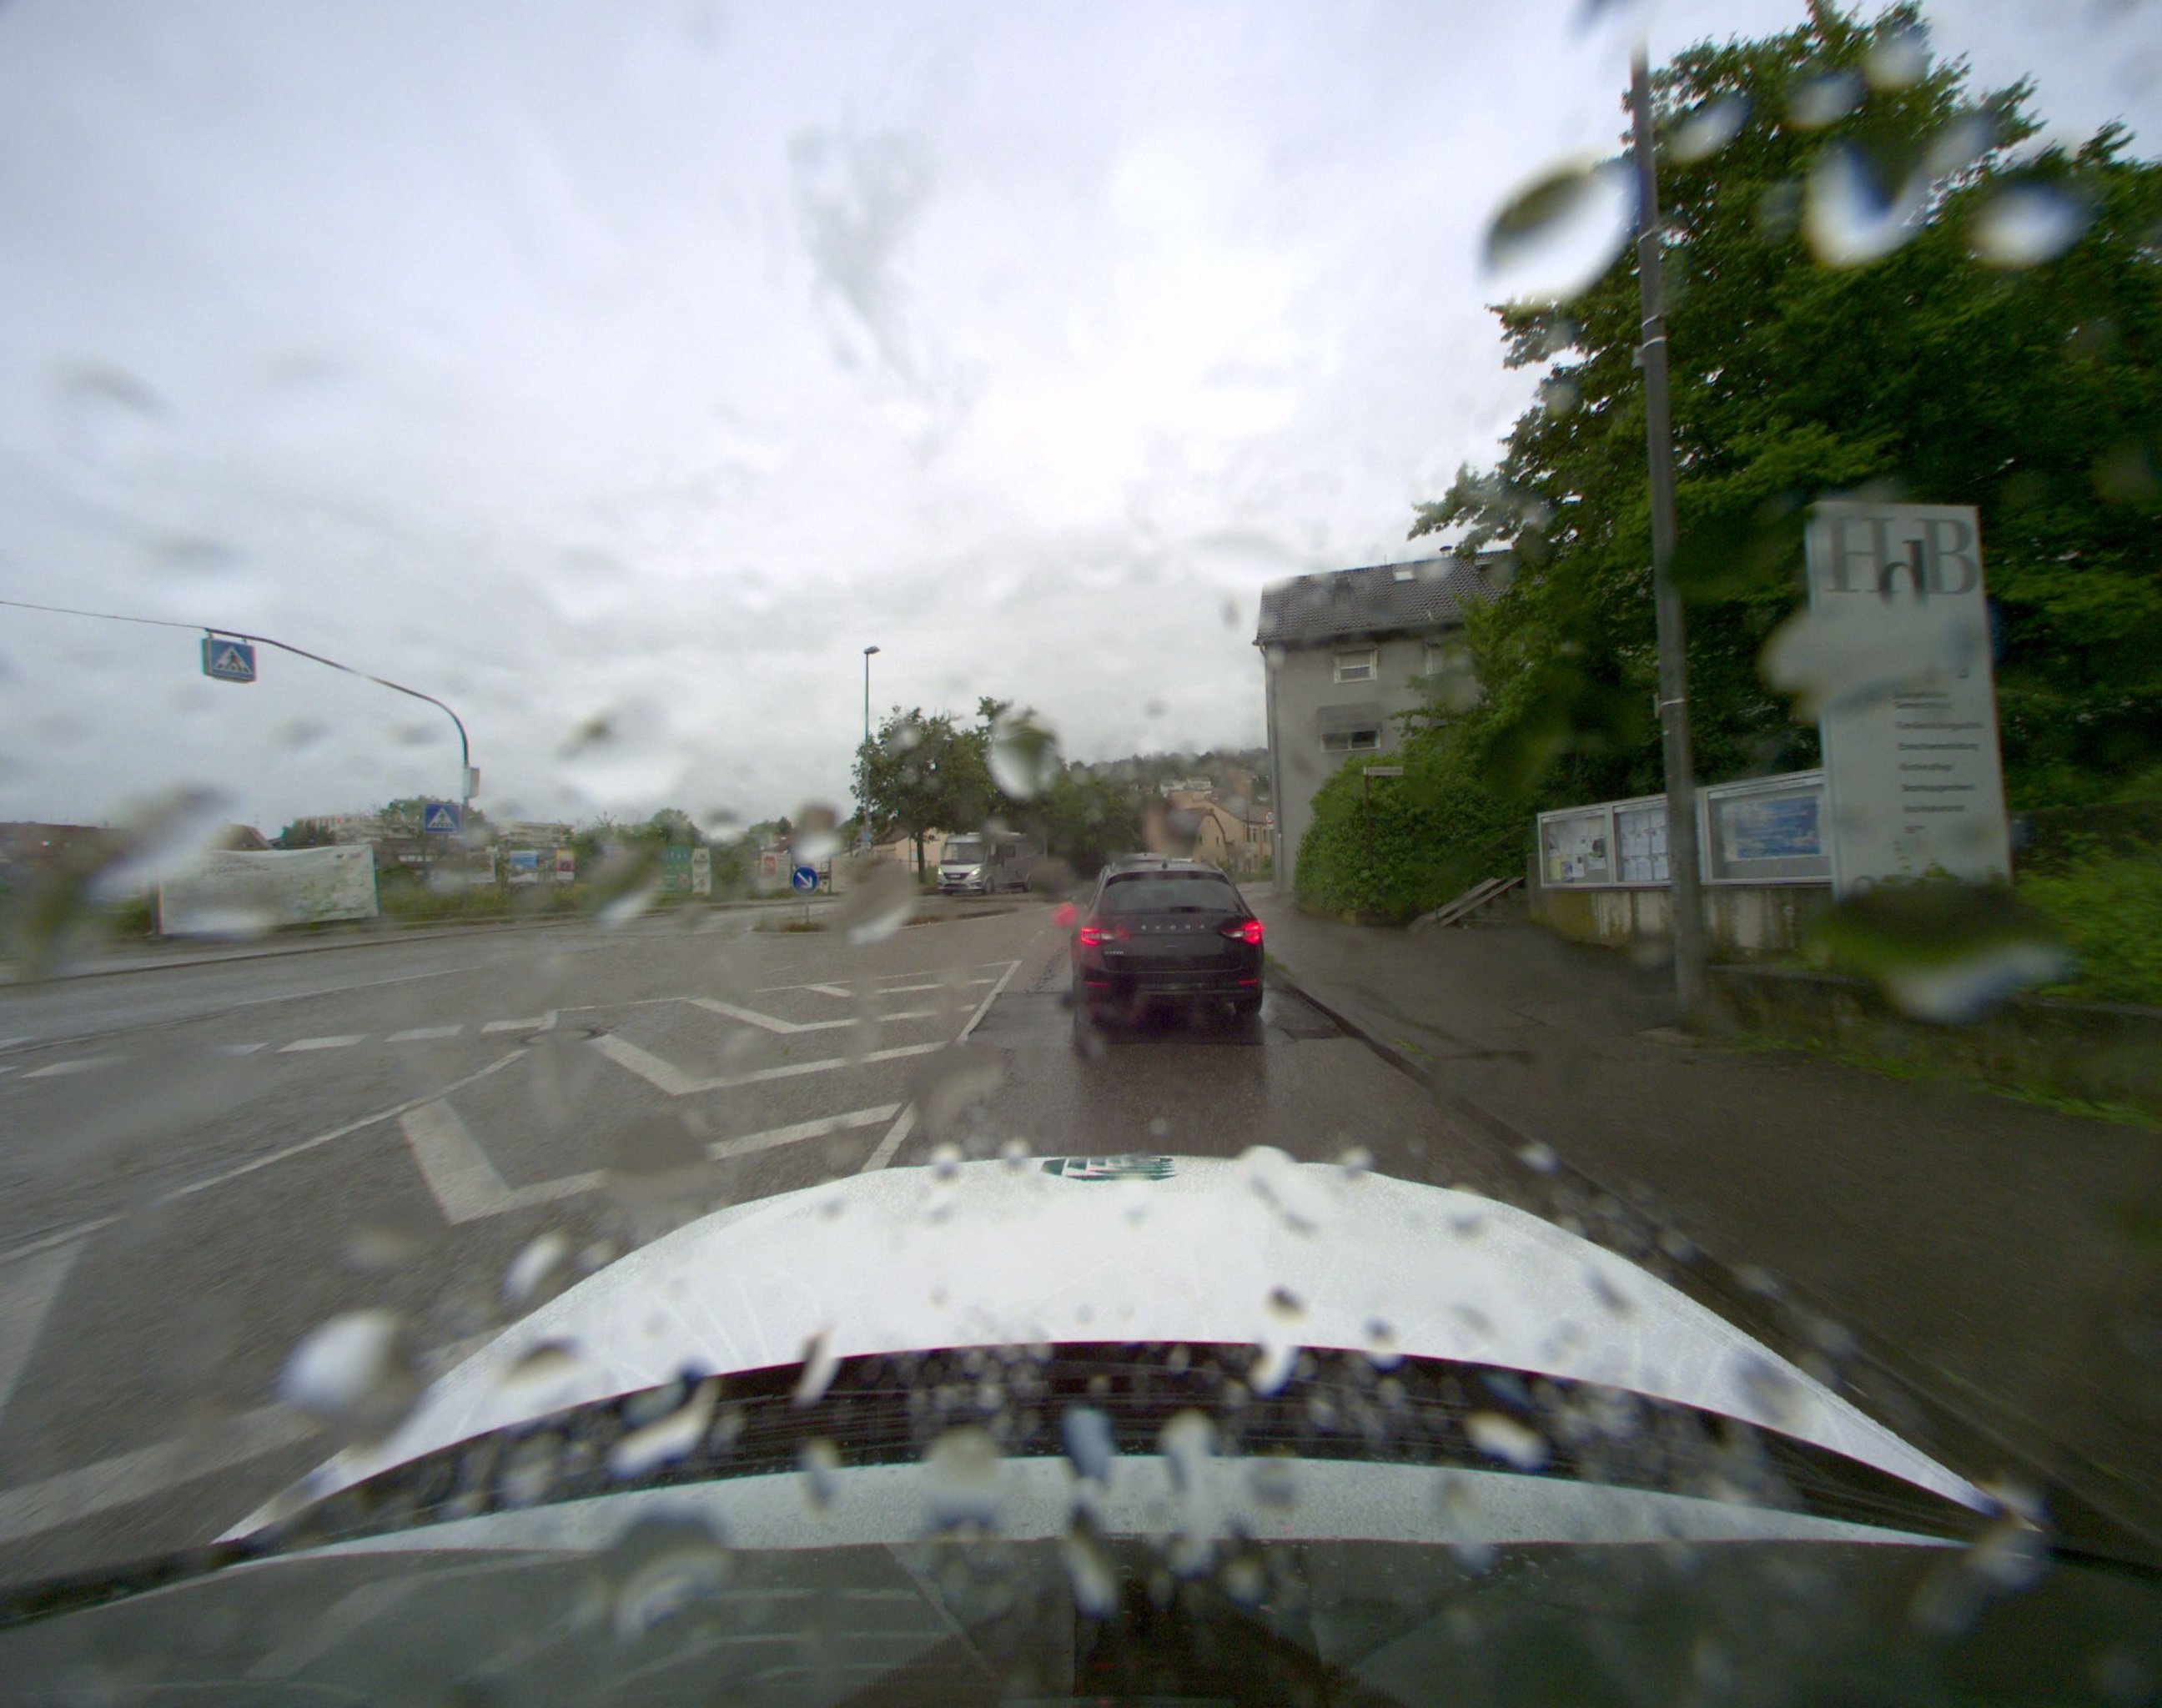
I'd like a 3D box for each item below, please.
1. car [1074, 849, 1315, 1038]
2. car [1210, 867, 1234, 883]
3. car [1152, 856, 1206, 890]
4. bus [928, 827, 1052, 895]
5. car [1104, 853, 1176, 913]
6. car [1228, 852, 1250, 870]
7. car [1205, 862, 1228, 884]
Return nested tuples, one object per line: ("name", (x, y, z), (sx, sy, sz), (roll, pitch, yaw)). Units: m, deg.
("car", (0.994, 0.767, 8.960), (1.947, 1.507, 4.610), (1, -1, 2))
("car", (14.505, 2.107, 83.564), (1.979, 1.453, 3.786), (-4, -1, 15))
("car", (4.550, 0.858, 37.215), (1.834, 1.410, 4.318), (-1, -1, 15))
("bus", (-3.830, 0.252, 36.133), (2.376, 2.676, 7.084), (-2, 0, 21))
("car", (1.686, 0.792, 22.907), (1.820, 1.500, 4.174), (-1, -1, 5))
("car", (18.102, 0.839, 93.425), (1.986, 2.014, 4.002), (0, -1, 2))
("car", (10.358, 1.432, 62.123), (1.557, 1.530, 4.013), (-2, 0, 12))
